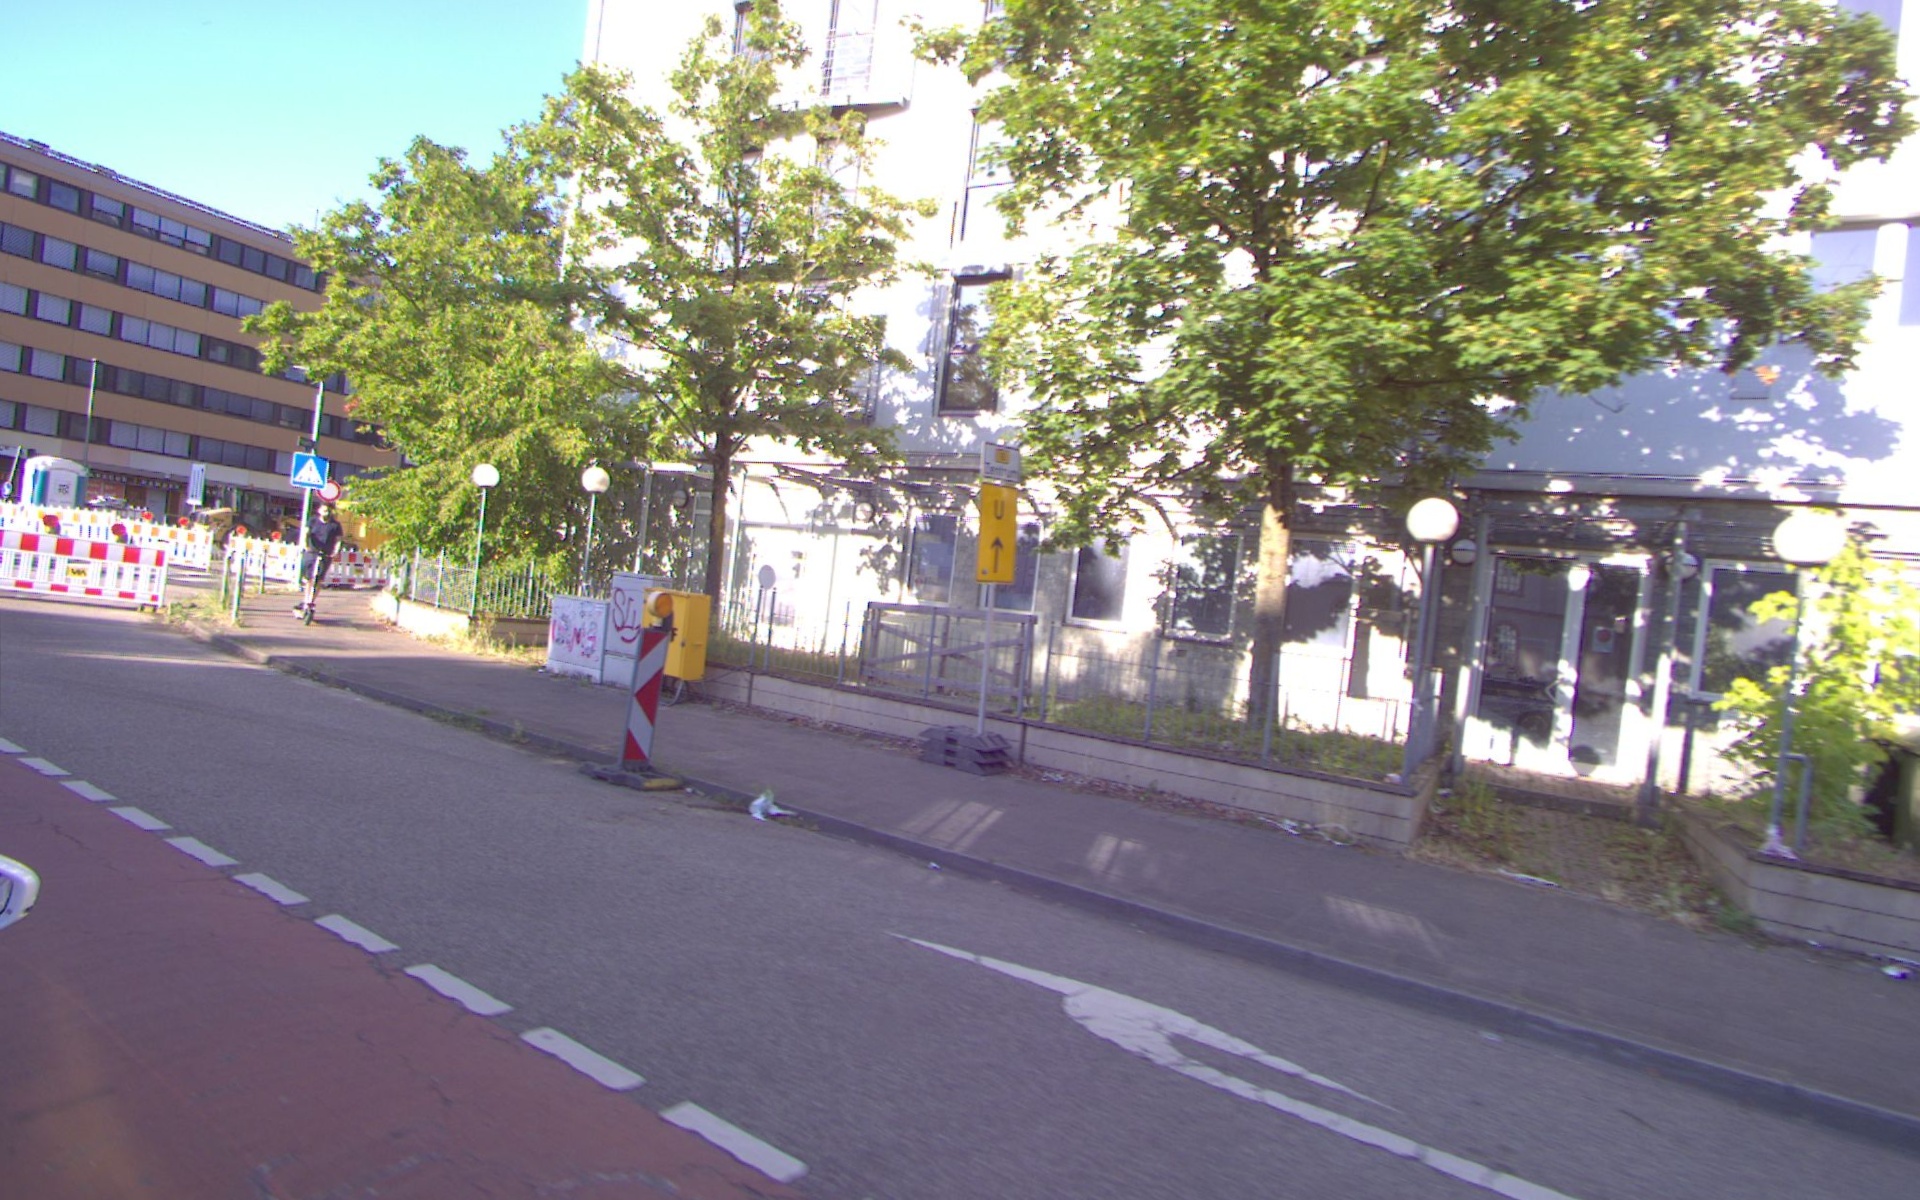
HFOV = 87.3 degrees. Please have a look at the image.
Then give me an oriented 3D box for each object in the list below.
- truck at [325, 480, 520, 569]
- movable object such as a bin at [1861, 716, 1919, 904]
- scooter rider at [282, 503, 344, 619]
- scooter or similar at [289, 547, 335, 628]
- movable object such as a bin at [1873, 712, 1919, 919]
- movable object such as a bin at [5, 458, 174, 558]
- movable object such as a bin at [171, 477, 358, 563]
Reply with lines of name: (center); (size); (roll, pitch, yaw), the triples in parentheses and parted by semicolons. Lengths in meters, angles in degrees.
truck: (-24.273, -3.319, 45.915); (2.760, 2.934, 7.346); (7, 0, 29)
movable object such as a bin: (8.531, 1.825, 8.579); (0.941, 1.503, 1.127); (7, 1, 32)
scooter rider: (-10.539, -0.636, 16.387); (0.613, 1.812, 0.480); (6, 1, -44)
scooter or similar: (-10.568, -0.212, 16.394); (0.329, 1.209, 1.235); (6, 1, -43)
movable object such as a bin: (7.808, 1.684, 7.648); (0.940, 1.503, 1.104); (7, 1, 31)
movable object such as a bin: (-25.531, -2.652, 29.604); (1.503, 2.412, 3.332); (7, 0, 31)
movable object such as a bin: (-27.309, -3.088, 39.733); (2.505, 2.521, 5.358); (7, 0, 29)
